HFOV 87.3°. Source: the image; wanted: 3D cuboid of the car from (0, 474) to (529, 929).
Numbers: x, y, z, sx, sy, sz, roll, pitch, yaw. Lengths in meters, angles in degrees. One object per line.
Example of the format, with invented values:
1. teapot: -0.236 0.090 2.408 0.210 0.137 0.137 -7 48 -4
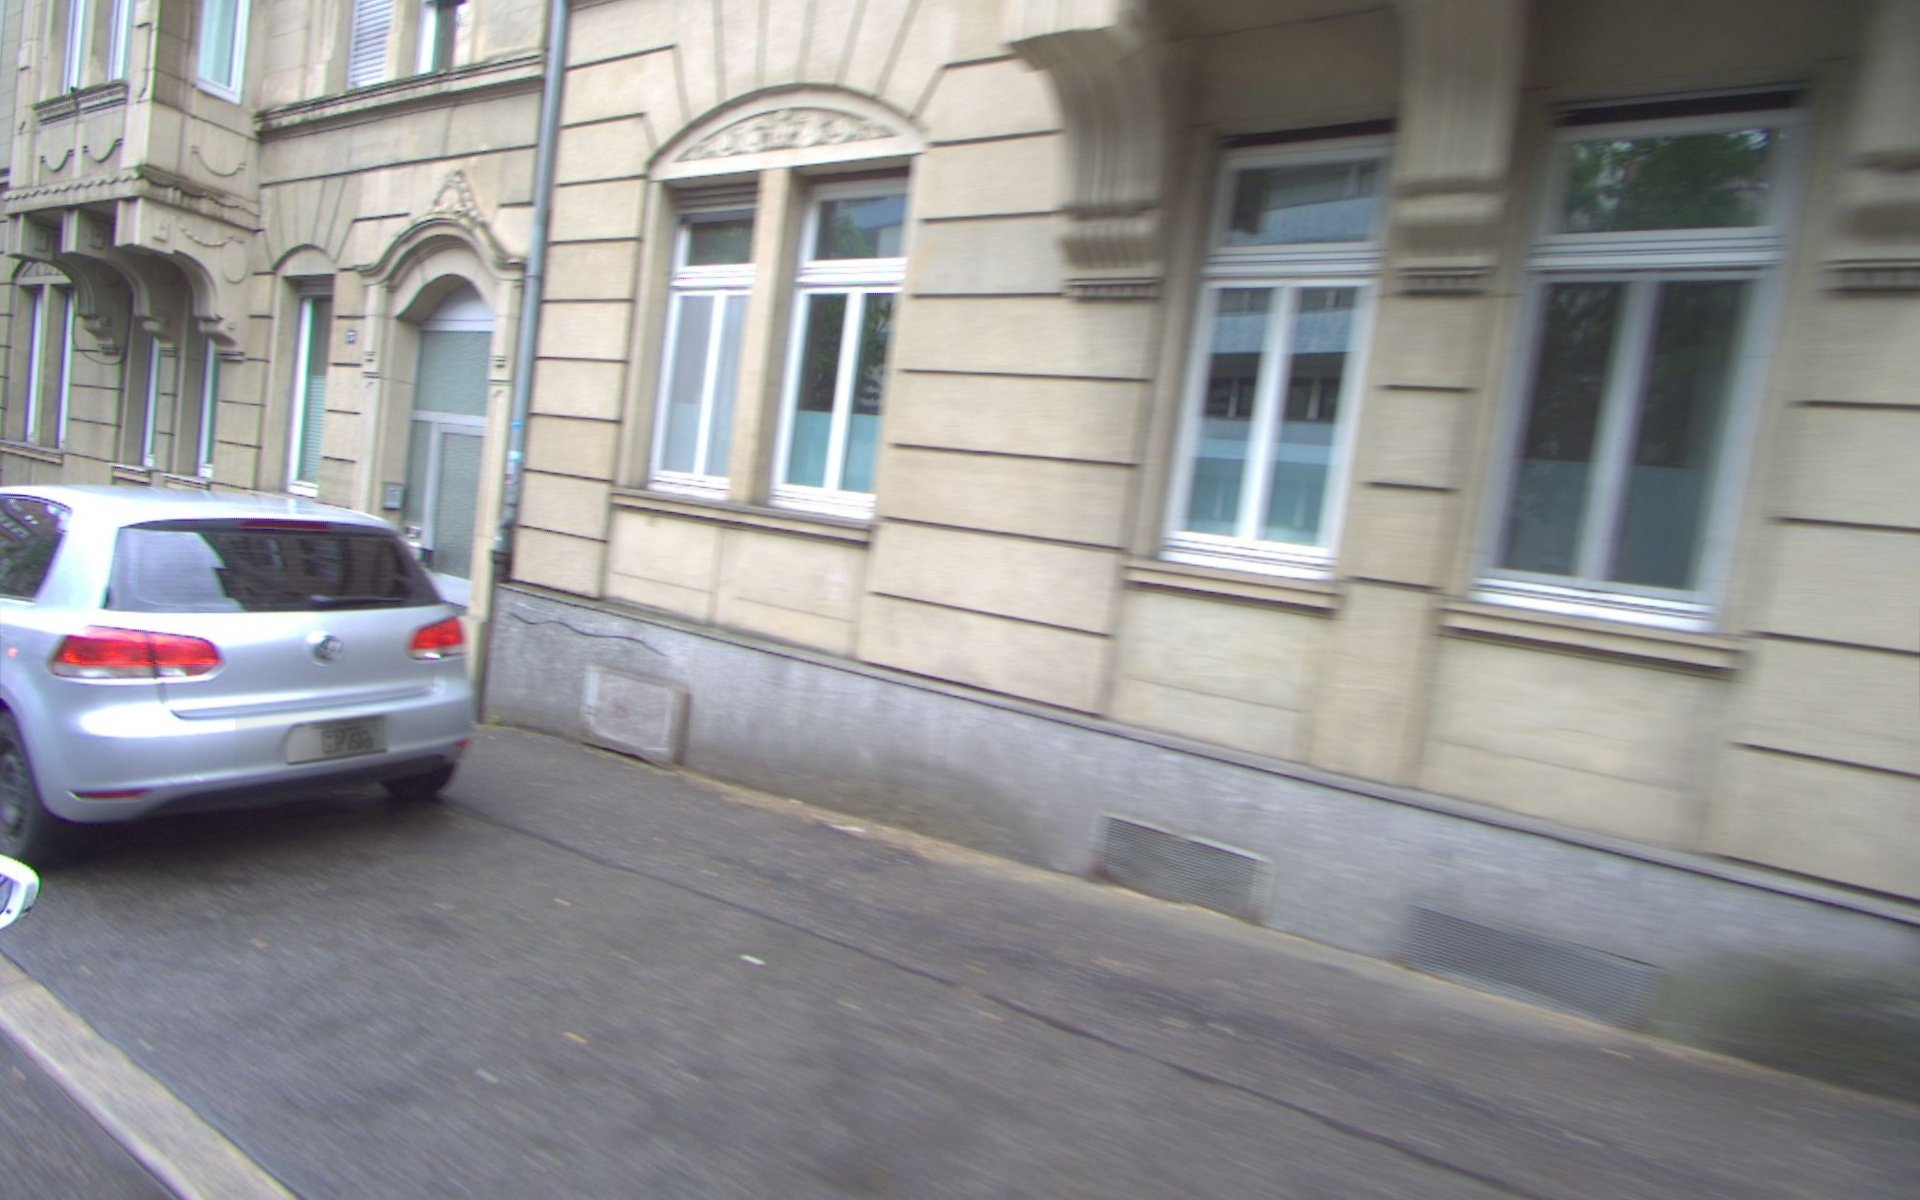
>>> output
1. car: -4.214 0.167 5.127 3.934 1.472 1.758 7 5 32
